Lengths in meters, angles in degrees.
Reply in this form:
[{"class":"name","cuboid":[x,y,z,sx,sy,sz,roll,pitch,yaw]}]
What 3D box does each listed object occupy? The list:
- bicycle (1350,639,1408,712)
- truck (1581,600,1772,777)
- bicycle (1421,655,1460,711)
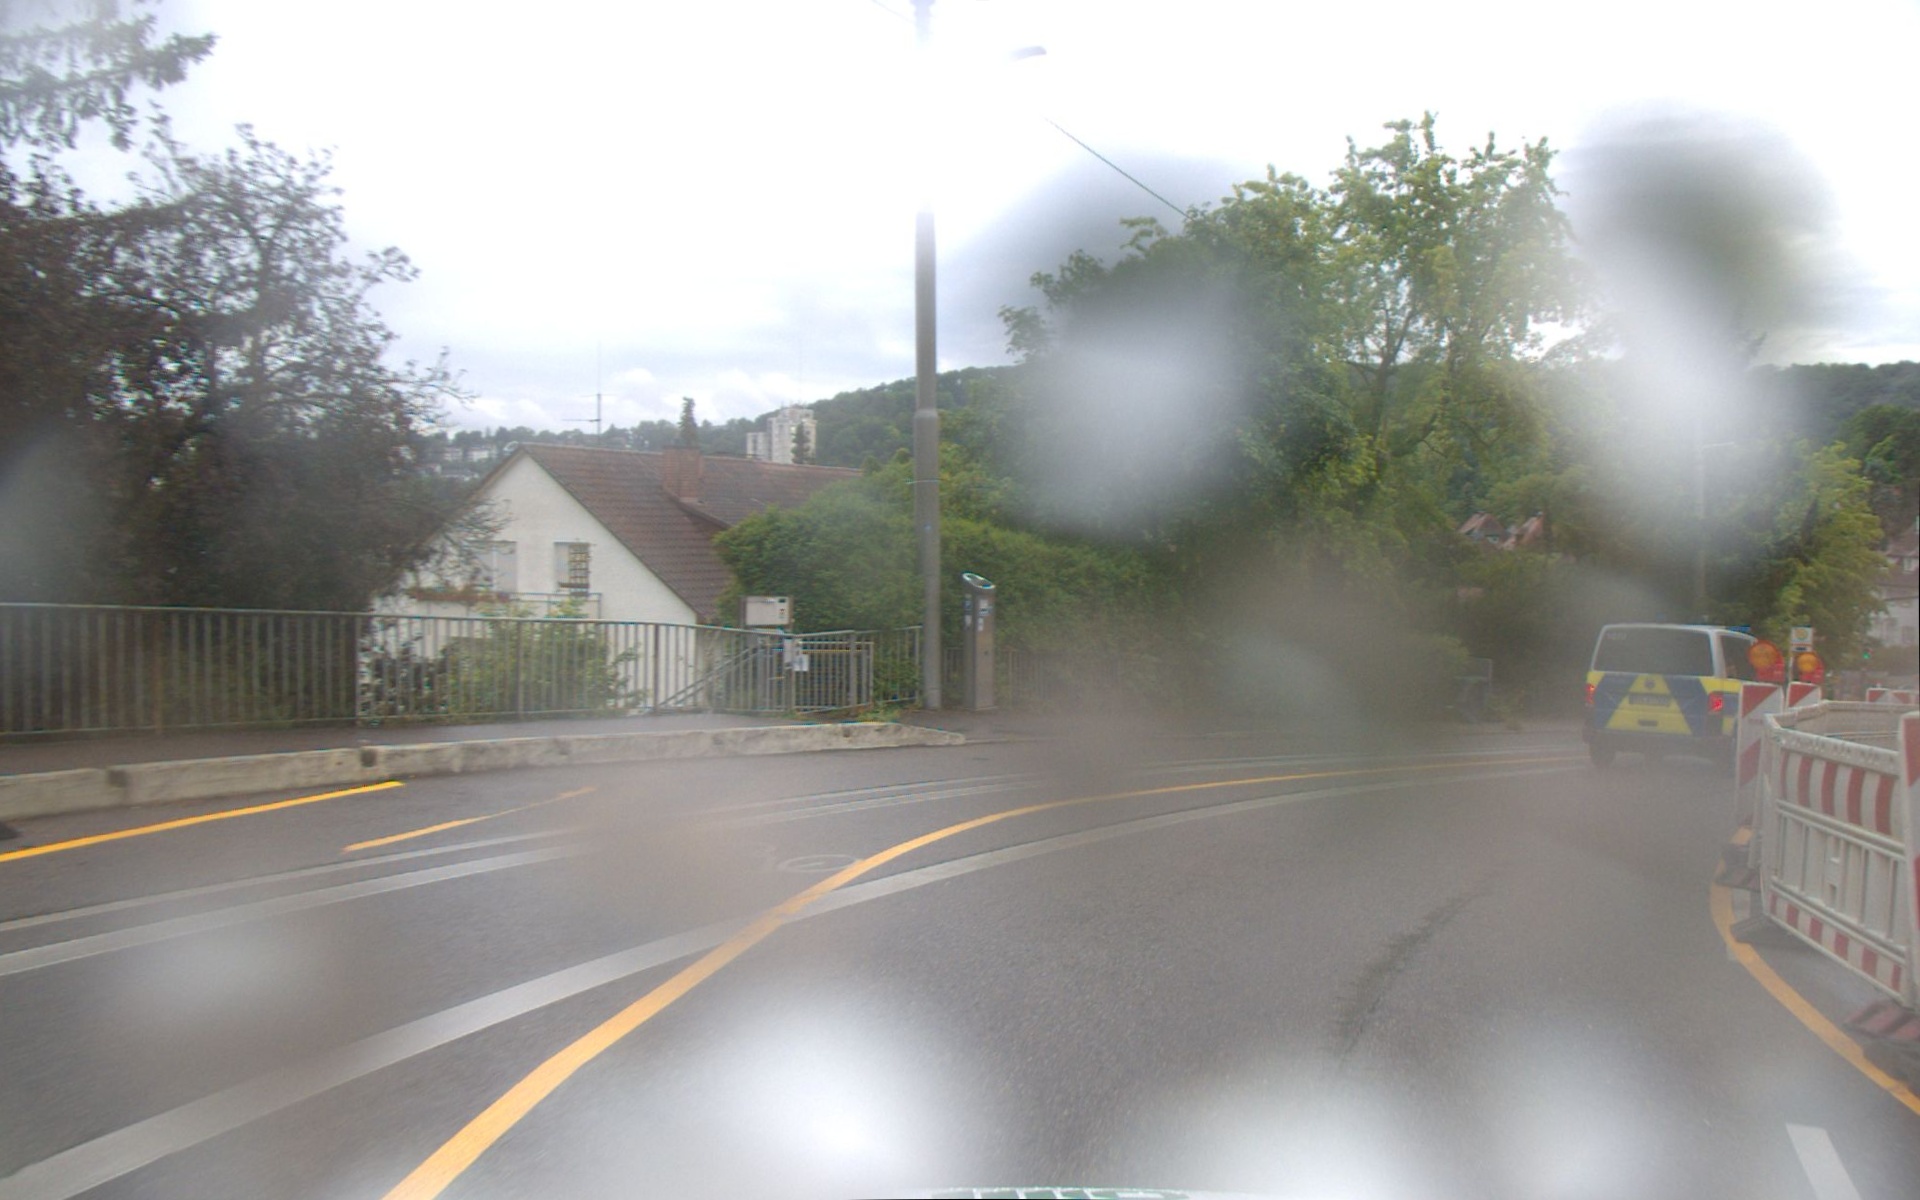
[{"class":"bicycle","cuboid":[8.167,1.482,32.188,0.413,1.373,1.735,1,-2,37]},{"class":"truck","cuboid":[10.189,1.119,23.294,1.956,2.048,4.727,-1,2,30]},{"class":"bicycle","cuboid":[10.125,1.750,34.812,0.332,1.127,1.250,1,-2,37]}]
